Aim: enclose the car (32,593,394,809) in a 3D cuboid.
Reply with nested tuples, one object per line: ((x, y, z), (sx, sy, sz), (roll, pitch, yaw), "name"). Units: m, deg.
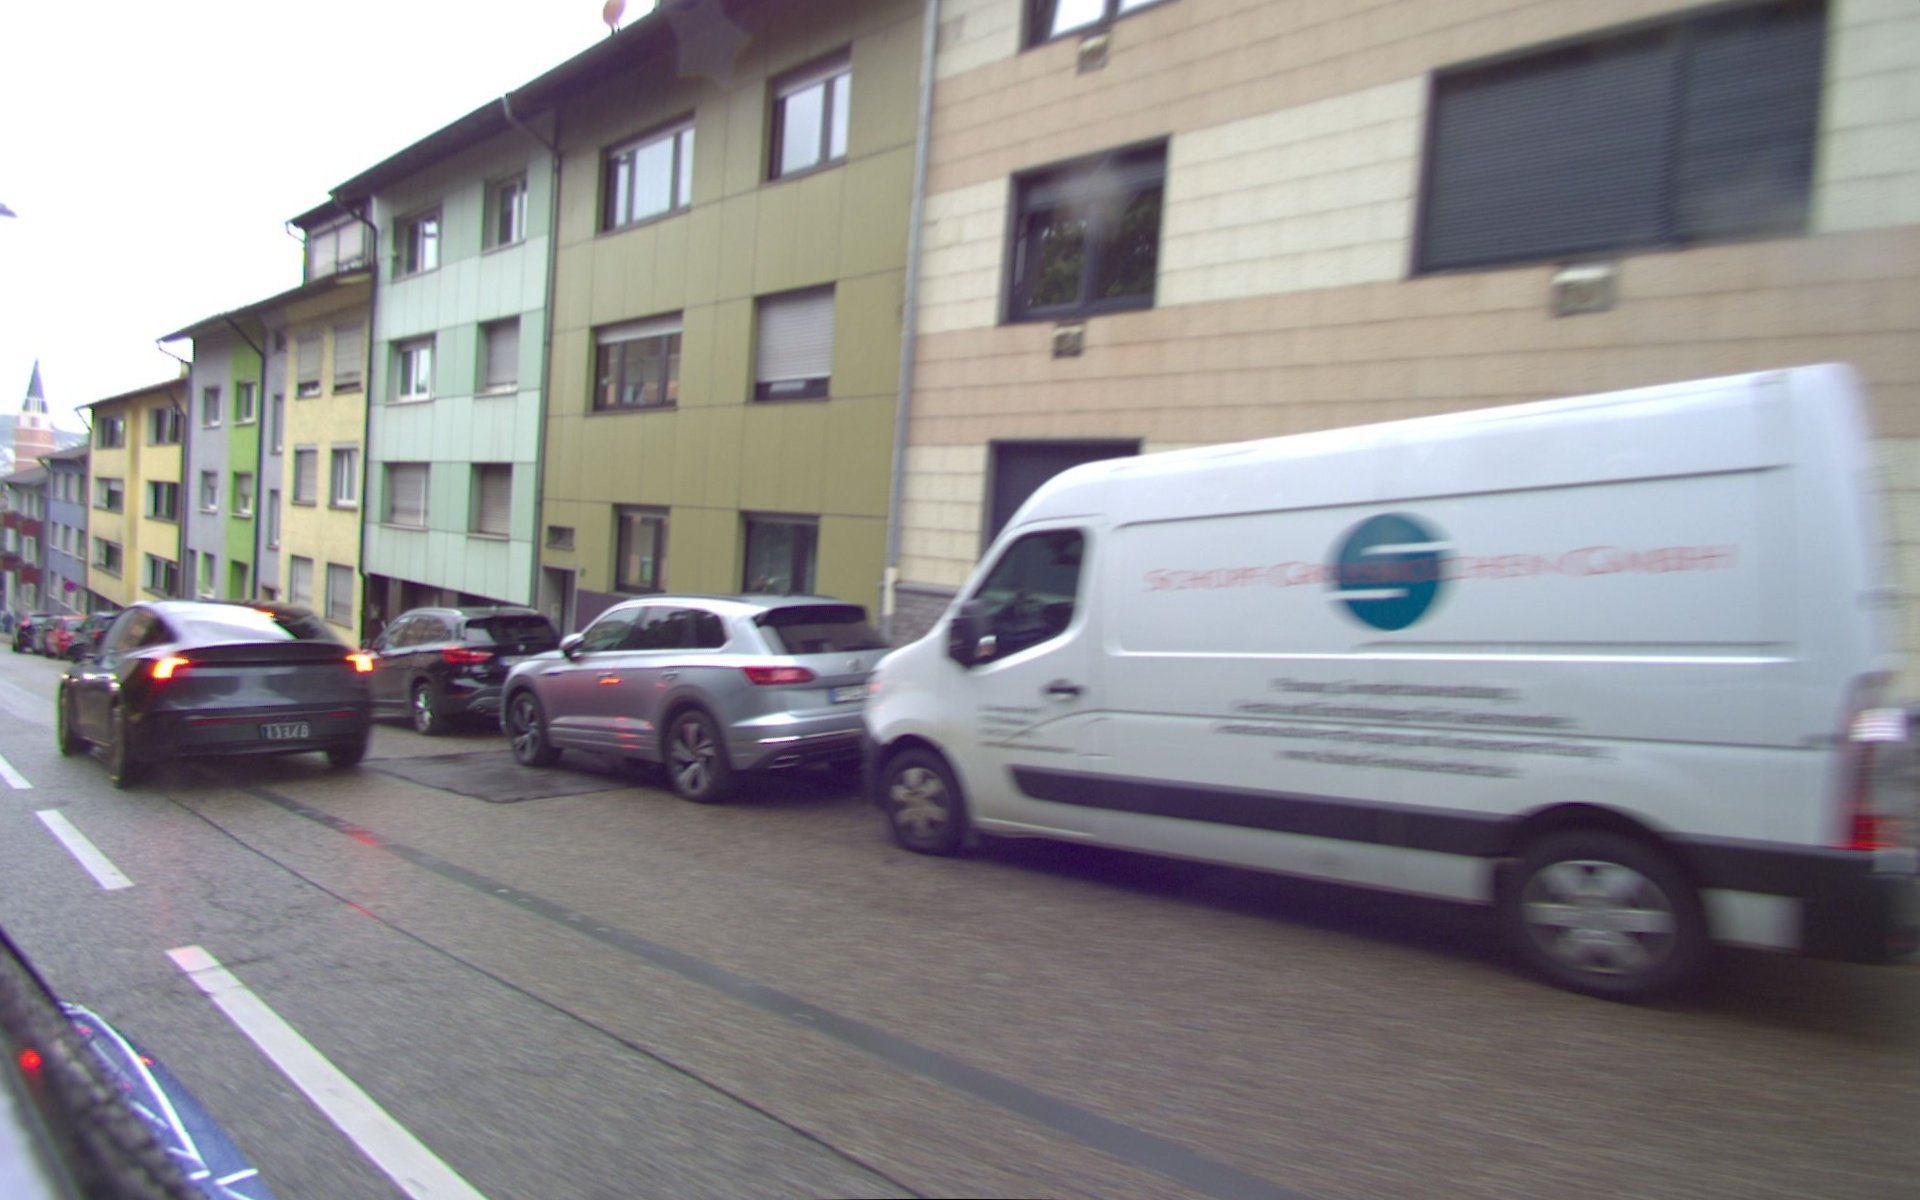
((-7.440, 0.818, 9.900), (4.497, 1.637, 1.916), (-1, -2, 41), "car")

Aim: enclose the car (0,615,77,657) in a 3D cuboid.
((-38.216, 1.467, 41.935), (4.326, 1.669, 1.884), (-1, -3, 41), "car")

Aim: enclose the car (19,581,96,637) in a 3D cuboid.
((-44.936, 0.486, 50.345), (5.441, 2.570, 2.095), (-1, -4, 41), "car")

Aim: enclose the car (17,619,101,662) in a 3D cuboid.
((-34.551, 1.531, 38.774), (3.998, 1.548, 1.884), (-1, -3, 41), "car")

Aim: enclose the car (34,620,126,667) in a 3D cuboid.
((-30.859, 1.495, 35.444), (3.998, 1.548, 1.884), (-1, -3, 41), "car")

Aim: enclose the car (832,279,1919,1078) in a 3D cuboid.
((1.919, 0.323, 5.689), (5.441, 2.570, 2.095), (-1, -4, 41), "car")

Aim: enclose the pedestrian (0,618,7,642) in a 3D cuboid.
((-64.980, 2.030, 68.424), (0.455, 1.630, 0.795), (-1, -1, 43), "pedestrian")

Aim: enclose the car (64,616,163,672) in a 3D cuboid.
((-25.698, 1.303, 30.671), (4.054, 1.606, 1.666), (-1, -3, 41), "car")

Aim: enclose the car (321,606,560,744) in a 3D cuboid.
((-7.268, 0.939, 13.952), (4.381, 1.627, 1.396), (-1, -3, 41), "car")

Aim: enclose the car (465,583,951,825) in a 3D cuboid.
((-2.589, 0.833, 9.671), (4.880, 1.753, 1.946), (-1, -4, 40), "car")

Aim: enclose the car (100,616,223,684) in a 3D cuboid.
((-20.357, 1.235, 25.738), (3.997, 1.606, 1.674), (-1, -3, 41), "car")
